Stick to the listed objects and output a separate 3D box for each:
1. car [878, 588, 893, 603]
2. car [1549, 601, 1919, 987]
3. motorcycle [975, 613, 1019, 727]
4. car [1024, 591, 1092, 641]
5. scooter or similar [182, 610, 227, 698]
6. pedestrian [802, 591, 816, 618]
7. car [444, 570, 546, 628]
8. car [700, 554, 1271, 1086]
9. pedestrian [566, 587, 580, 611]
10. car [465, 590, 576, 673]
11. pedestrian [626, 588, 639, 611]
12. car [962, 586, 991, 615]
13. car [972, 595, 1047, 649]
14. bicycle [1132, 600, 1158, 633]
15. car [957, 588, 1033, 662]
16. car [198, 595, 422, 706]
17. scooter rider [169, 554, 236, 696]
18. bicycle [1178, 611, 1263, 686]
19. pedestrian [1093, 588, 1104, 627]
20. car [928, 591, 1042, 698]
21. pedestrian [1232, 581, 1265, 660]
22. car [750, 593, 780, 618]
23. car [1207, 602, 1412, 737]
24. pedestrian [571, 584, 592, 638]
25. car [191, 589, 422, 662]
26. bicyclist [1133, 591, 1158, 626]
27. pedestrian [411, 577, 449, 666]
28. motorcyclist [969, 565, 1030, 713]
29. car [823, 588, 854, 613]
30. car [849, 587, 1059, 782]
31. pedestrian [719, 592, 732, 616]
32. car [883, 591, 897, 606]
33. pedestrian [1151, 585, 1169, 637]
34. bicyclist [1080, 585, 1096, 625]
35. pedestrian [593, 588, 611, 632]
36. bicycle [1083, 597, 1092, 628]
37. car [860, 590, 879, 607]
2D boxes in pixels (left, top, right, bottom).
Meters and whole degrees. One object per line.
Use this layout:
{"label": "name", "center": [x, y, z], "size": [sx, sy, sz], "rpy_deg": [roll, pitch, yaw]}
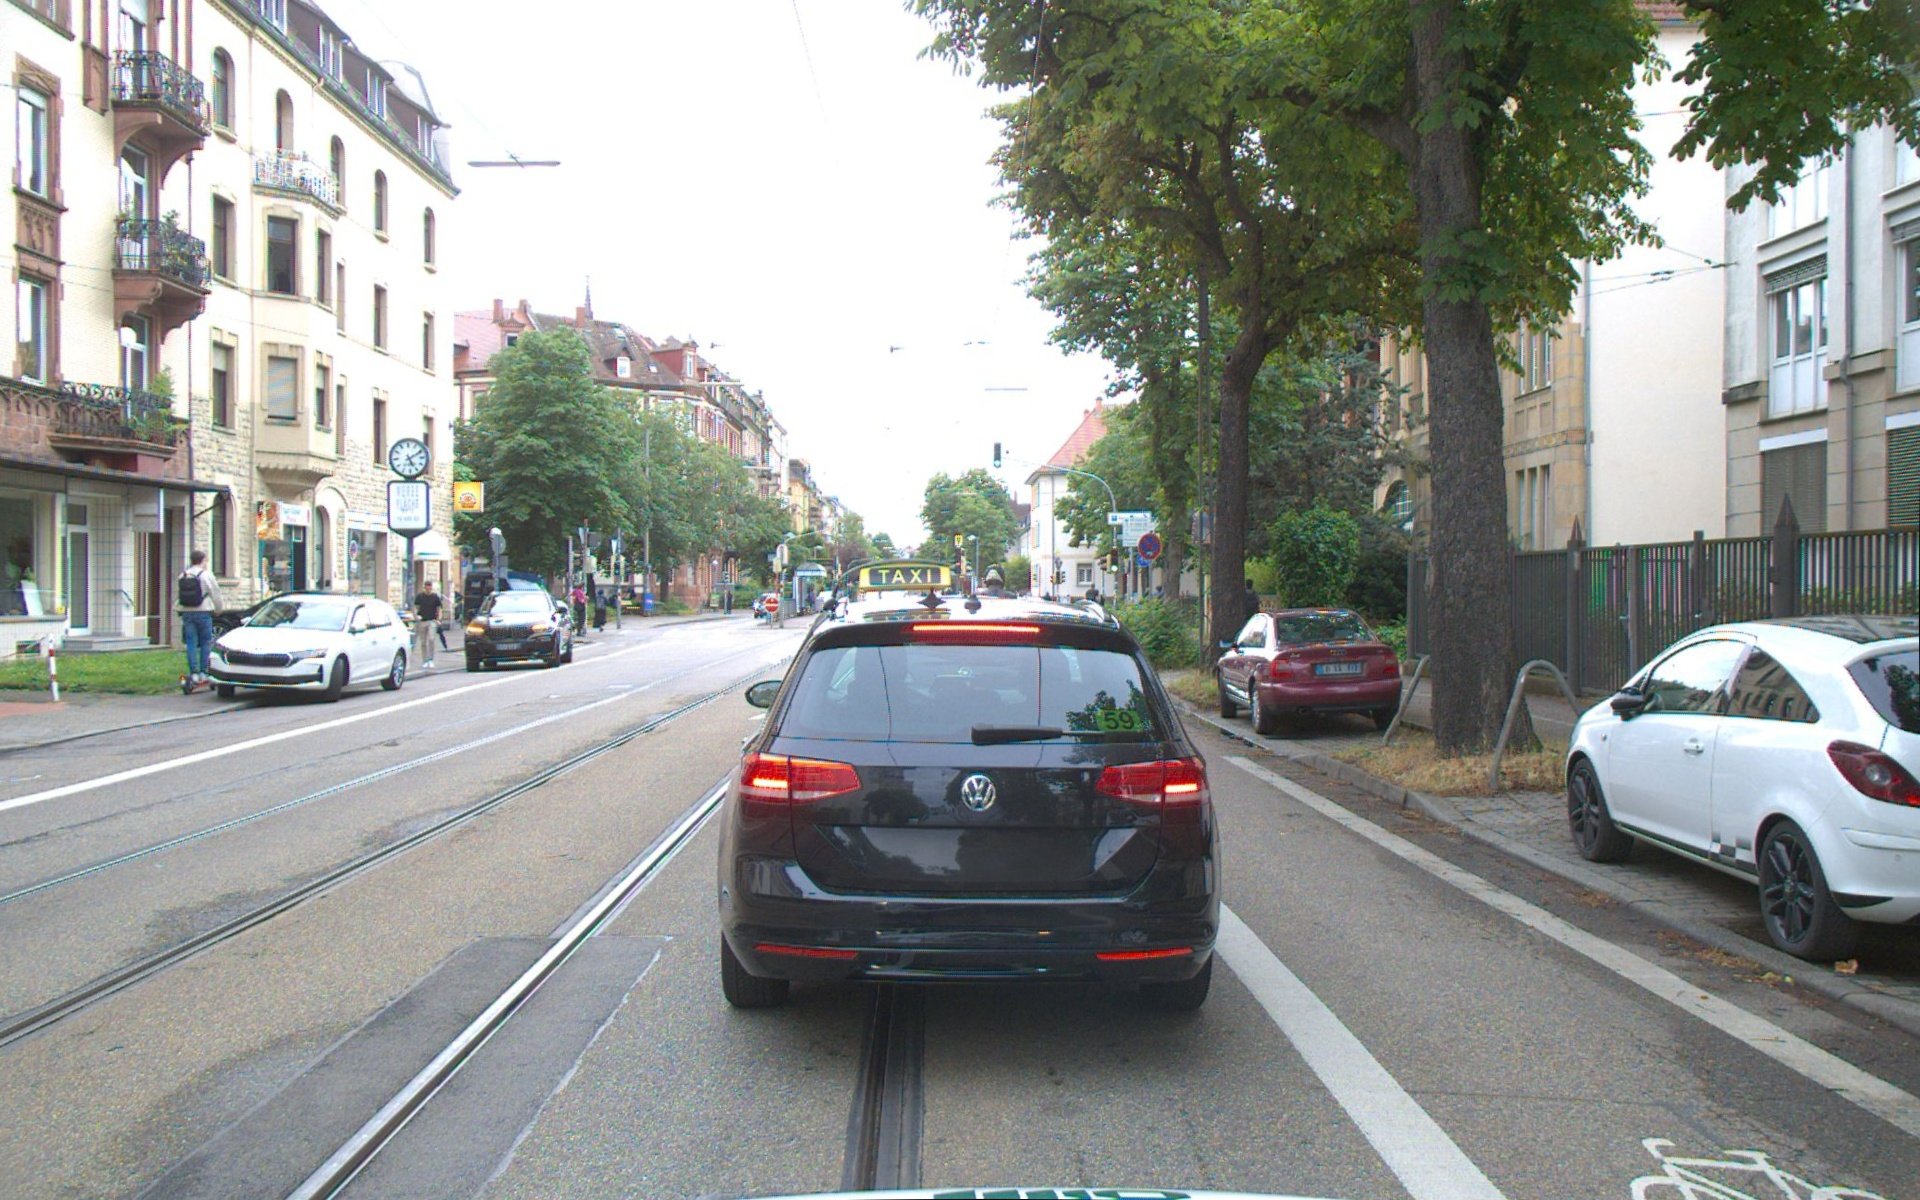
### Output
{"label": "car", "center": [-8.744, -0.531, 194.015], "size": [1.686, 1.651, 3.862], "rpy_deg": [0, 0, -1]}
{"label": "car", "center": [4.513, 0.777, 8.516], "size": [1.569, 1.460, 3.776], "rpy_deg": [-2, 0, 0]}
{"label": "motorcycle", "center": [0.427, 0.798, 19.657], "size": [0.437, 1.257, 1.906], "rpy_deg": [0, 0, -1]}
{"label": "car", "center": [3.250, 0.532, 55.595], "size": [1.953, 1.605, 3.999], "rpy_deg": [1, 0, -1]}
{"label": "scooter or similar", "center": [-11.085, 0.781, 24.287], "size": [0.226, 1.256, 0.953], "rpy_deg": [0, 0, -1]}
{"label": "pedestrian", "center": [-8.654, 0.247, 94.910], "size": [0.699, 1.547, 0.590], "rpy_deg": [0, 0, 1]}
{"label": "car", "center": [-20.585, -0.040, 73.110], "size": [2.168, 2.460, 5.295], "rpy_deg": [0, 0, -43]}
{"label": "car", "center": [0.053, 0.643, 6.910], "size": [1.688, 1.573, 3.999], "rpy_deg": [0, 0, -1]}
{"label": "pedestrian", "center": [-25.123, -0.086, 107.352], "size": [0.577, 1.547, 0.647], "rpy_deg": [0, 0, 34]}
{"label": "car", "center": [-9.716, 0.659, 36.912], "size": [1.849, 1.639, 4.876], "rpy_deg": [-3, 0, -9]}
{"label": "pedestrian", "center": [-21.515, -0.040, 108.660], "size": [0.577, 1.547, 0.647], "rpy_deg": [0, 0, 34]}
{"label": "car", "center": [1.189, 0.053, 118.955], "size": [1.991, 2.049, 3.999], "rpy_deg": [1, 0, -1]}
{"label": "car", "center": [1.457, 0.595, 47.081], "size": [1.852, 1.432, 4.003], "rpy_deg": [-1, 0, 5]}
{"label": "bicycle", "center": [7.056, 0.617, 62.981], "size": [1.145, 1.217, 0.250], "rpy_deg": [-1, 0, -39]}
{"label": "car", "center": [0.763, 0.551, 37.555], "size": [1.574, 1.583, 3.577], "rpy_deg": [1, 0, -1]}
{"label": "car", "center": [-9.790, 0.700, 25.314], "size": [1.712, 1.510, 4.607], "rpy_deg": [0, 0, -2]}
{"label": "scooter rider", "center": [-11.121, 0.363, 24.289], "size": [0.629, 2.049, 0.757], "rpy_deg": [0, 0, -1]}
{"label": "bicycle", "center": [4.421, 0.811, 27.989], "size": [0.426, 1.219, 1.891], "rpy_deg": [0, -1, 44]}
{"label": "pedestrian", "center": [5.774, 0.309, 68.858], "size": [0.441, 1.589, 0.479], "rpy_deg": [0, 0, 7]}
{"label": "car", "center": [0.347, 0.649, 26.588], "size": [1.688, 1.573, 3.999], "rpy_deg": [0, 0, -1]}
{"label": "pedestrian", "center": [6.838, 0.471, 39.173], "size": [0.619, 1.846, 0.726], "rpy_deg": [0, 0, -3]}
{"label": "car", "center": [-11.679, 0.330, 99.198], "size": [1.576, 1.447, 3.484], "rpy_deg": [-1, 0, -4]}
{"label": "car", "center": [4.223, 0.777, 20.594], "size": [1.569, 1.423, 4.226], "rpy_deg": [-2, 0, -1]}
{"label": "pedestrian", "center": [-13.294, 0.381, 58.057], "size": [0.610, 1.875, 0.609], "rpy_deg": [0, 0, -3]}
{"label": "car", "center": [-14.396, 0.553, 36.652], "size": [4.340, 1.394, 1.878], "rpy_deg": [2, 0, -6]}
{"label": "bicyclist", "center": [7.078, 0.336, 63.016], "size": [0.688, 1.324, 0.644], "rpy_deg": [0, 0, -38]}
{"label": "pedestrian", "center": [-11.401, 0.452, 35.596], "size": [0.656, 1.876, 0.880], "rpy_deg": [-1, 0, -12]}
{"label": "motorcyclist", "center": [0.462, 0.450, 19.727], "size": [0.688, 1.722, 0.804], "rpy_deg": [0, 0, -1]}
{"label": "car", "center": [-9.188, 0.046, 125.511], "size": [1.952, 1.822, 4.000], "rpy_deg": [1, 0, 1]}
{"label": "car", "center": [-0.078, 0.671, 15.358], "size": [1.688, 1.573, 3.999], "rpy_deg": [0, 0, -1]}
{"label": "pedestrian", "center": [-15.543, 0.269, 109.577], "size": [0.577, 1.547, 0.647], "rpy_deg": [0, 0, 34]}
{"label": "car", "center": [-9.683, -0.151, 228.783], "size": [1.953, 2.049, 3.998], "rpy_deg": [1, 0, -2]}
{"label": "pedestrian", "center": [7.294, 0.388, 60.244], "size": [0.503, 1.863, 0.418], "rpy_deg": [-3, 0, 15]}
{"label": "bicyclist", "center": [5.127, 0.195, 66.225], "size": [0.637, 1.596, 0.696], "rpy_deg": [0, 0, 6]}
{"label": "pedestrian", "center": [-13.956, 0.390, 64.525], "size": [0.577, 1.692, 0.838], "rpy_deg": [0, 0, -4]}
{"label": "bicycle", "center": [5.110, 0.493, 66.150], "size": [0.291, 1.244, 1.431], "rpy_deg": [0, 0, 6]}
{"label": "car", "center": [-8.997, -0.136, 164.858], "size": [1.686, 1.651, 3.862], "rpy_deg": [-1, 0, -1]}
